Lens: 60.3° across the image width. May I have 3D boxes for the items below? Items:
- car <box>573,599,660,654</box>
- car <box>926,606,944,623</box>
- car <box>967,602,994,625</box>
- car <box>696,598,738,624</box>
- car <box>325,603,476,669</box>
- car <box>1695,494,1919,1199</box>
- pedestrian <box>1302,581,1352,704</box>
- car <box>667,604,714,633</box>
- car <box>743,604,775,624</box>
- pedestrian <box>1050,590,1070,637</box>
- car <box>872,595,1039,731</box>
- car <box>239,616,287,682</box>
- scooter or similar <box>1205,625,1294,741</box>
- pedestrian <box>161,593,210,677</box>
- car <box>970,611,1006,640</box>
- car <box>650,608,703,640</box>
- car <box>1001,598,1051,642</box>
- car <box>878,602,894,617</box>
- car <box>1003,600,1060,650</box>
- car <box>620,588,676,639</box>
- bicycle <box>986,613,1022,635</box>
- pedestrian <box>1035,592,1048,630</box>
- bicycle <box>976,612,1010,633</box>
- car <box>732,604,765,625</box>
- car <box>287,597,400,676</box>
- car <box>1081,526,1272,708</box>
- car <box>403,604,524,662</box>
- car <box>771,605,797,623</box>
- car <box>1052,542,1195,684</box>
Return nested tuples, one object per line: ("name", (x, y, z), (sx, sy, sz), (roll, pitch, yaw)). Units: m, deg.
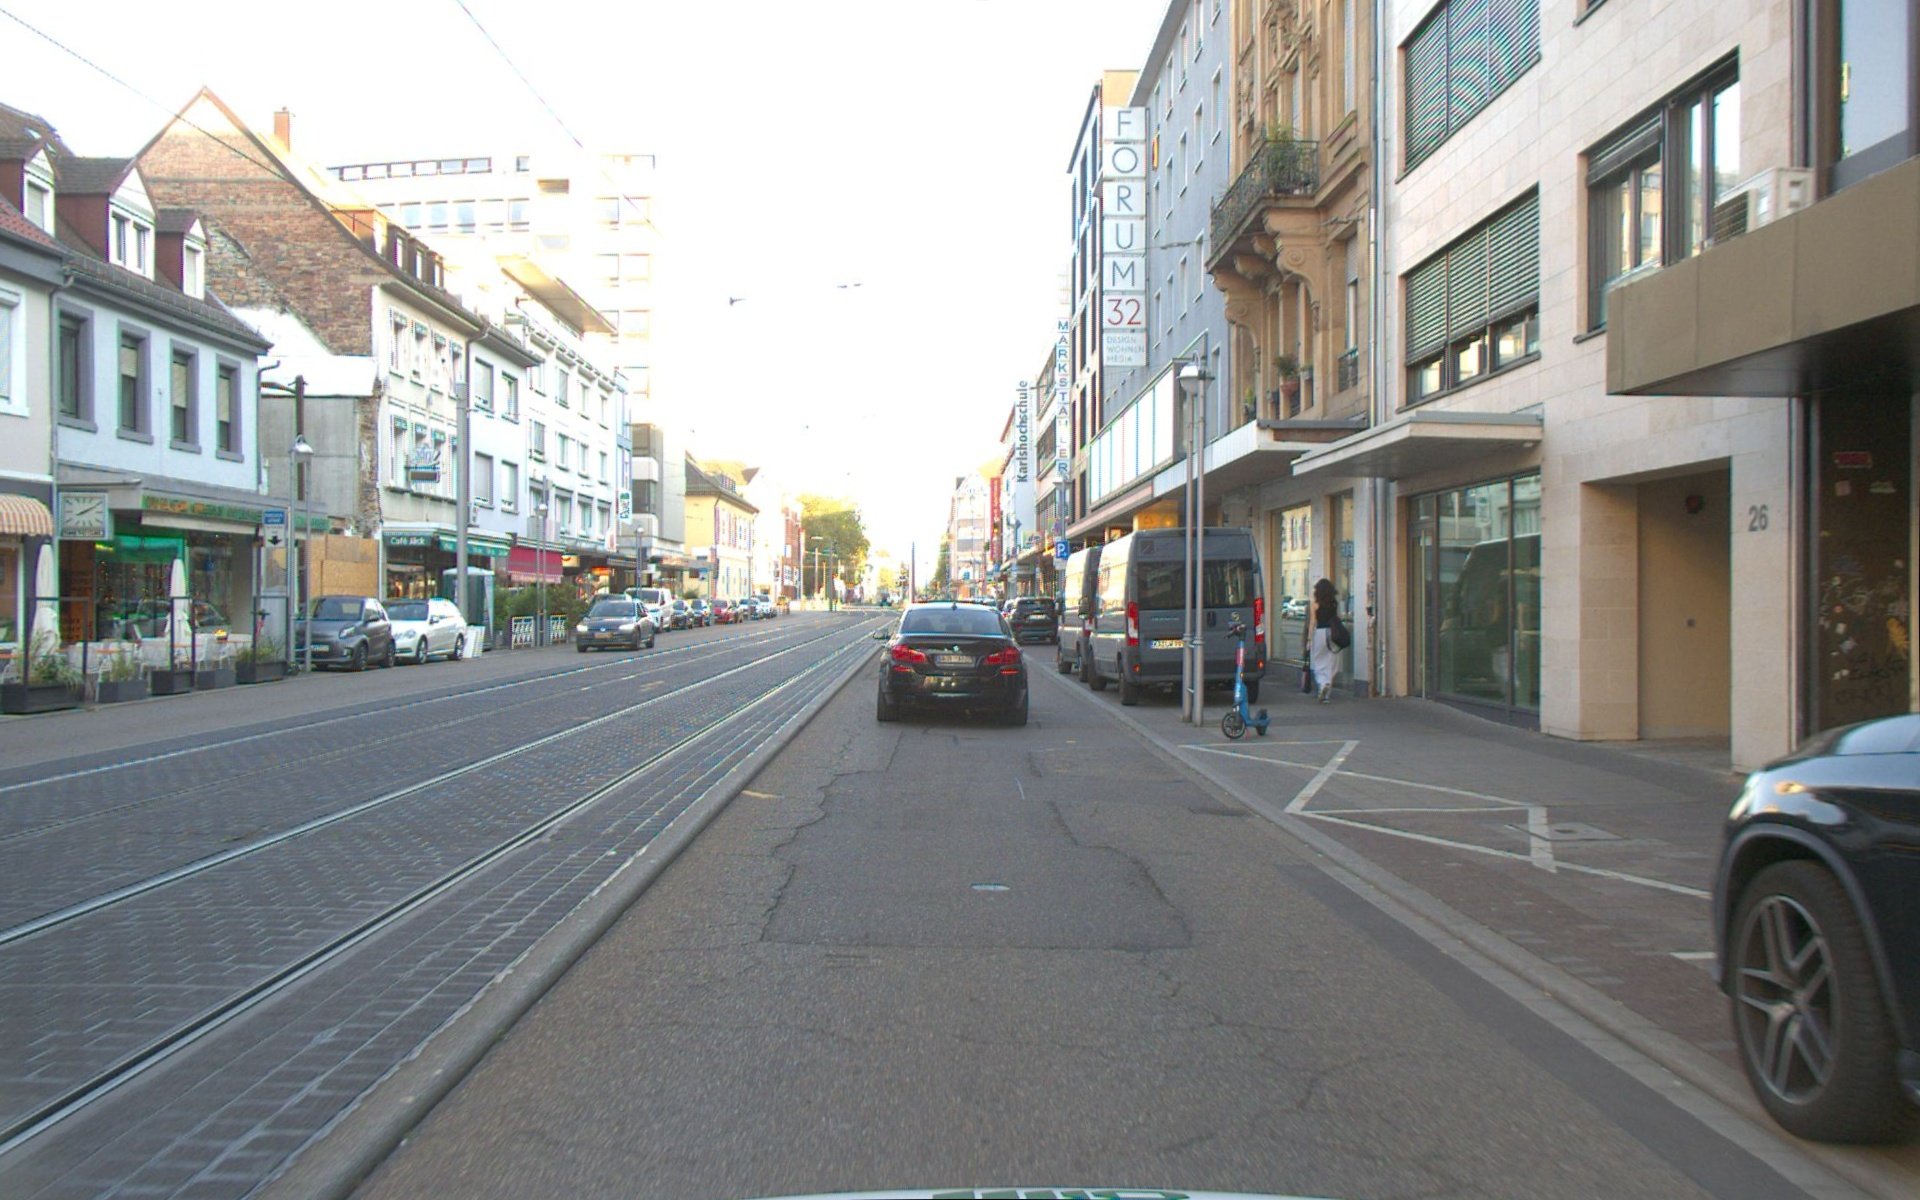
("car", (-10.101, 0.750, 48.952), (1.657, 1.478, 4.464), (-2, 0, -1))
("car", (-2.412, 1.422, 161.823), (1.738, 1.576, 3.502), (0, -1, -1))
("car", (1.429, 0.943, 114.590), (1.738, 1.576, 3.502), (0, -1, -1))
("car", (-14.407, 0.654, 98.374), (1.889, 1.460, 4.245), (1, 0, -1))
("car", (-13.239, 0.820, 39.451), (1.953, 1.478, 4.821), (0, 0, 0))
("car", (3.372, 0.600, 3.030), (1.953, 1.757, 4.564), (-1, 0, -1))
("pedestrian", (5.086, 0.575, 22.936), (0.539, 1.673, 0.533), (-1, 0, -1))
("car", (-14.384, 0.974, 88.506), (1.889, 1.460, 4.245), (1, 0, -1))
("car", (-14.904, 1.012, 123.067), (1.889, 1.460, 4.245), (1, 0, -1))
("pedestrian", (3.845, 0.528, 63.573), (0.674, 1.771, 0.820), (-2, 0, 0))
("car", (-0.039, 0.748, 21.562), (1.913, 1.524, 4.465), (2, 0, 0))
("car", (-13.418, 0.939, 31.845), (0.768, 1.256, 0.339), (0, 0, -3))
("scooter or similar", (3.253, 0.905, 18.545), (0.490, 1.241, 1.260), (0, 0, 36))
("pedestrian", (-15.684, 0.698, 33.512), (0.649, 1.673, 0.694), (0, 0, -1))
("car", (1.537, 1.428, 93.140), (1.864, 1.576, 3.999), (0, -1, -1))
("car", (-14.002, 1.164, 81.911), (1.889, 1.460, 4.245), (1, 0, -1))
("car", (2.361, 0.716, 59.960), (1.528, 1.467, 3.708), (-2, 0, -1))
("car", (-10.111, 1.256, 226.133), (1.953, 1.870, 3.998), (0, -3, -1))
("car", (2.346, 0.804, 55.050), (1.621, 1.564, 3.884), (-1, 0, -1))
("car", (-13.954, 0.600, 74.201), (1.954, 2.194, 4.906), (0, 0, -4))
("bicycle", (2.250, 1.229, 83.993), (1.823, 1.099, 0.468), (0, -2, 0))
("pedestrian", (4.033, 0.545, 81.846), (0.542, 1.823, 0.759), (-1, 0, -1))
("bicycle", (1.788, 1.220, 89.720), (1.823, 1.139, 0.468), (0, -2, 0))
("car", (-14.944, 1.002, 116.935), (1.889, 1.460, 4.245), (0, 0, -1))
("car", (-12.977, 0.743, 34.961), (1.447, 1.605, 2.793), (0, 0, -3))
("car", (3.254, 0.236, 26.141), (2.050, 2.498, 6.030), (-1, 0, -1))
("car", (-13.265, 0.851, 44.431), (1.953, 1.478, 4.329), (0, 0, 0))
("car", (-15.564, 1.231, 146.176), (1.889, 1.460, 4.245), (1, 0, -1))
("car", (3.098, 0.237, 32.534), (1.992, 2.498, 5.406), (-2, 0, -3))
